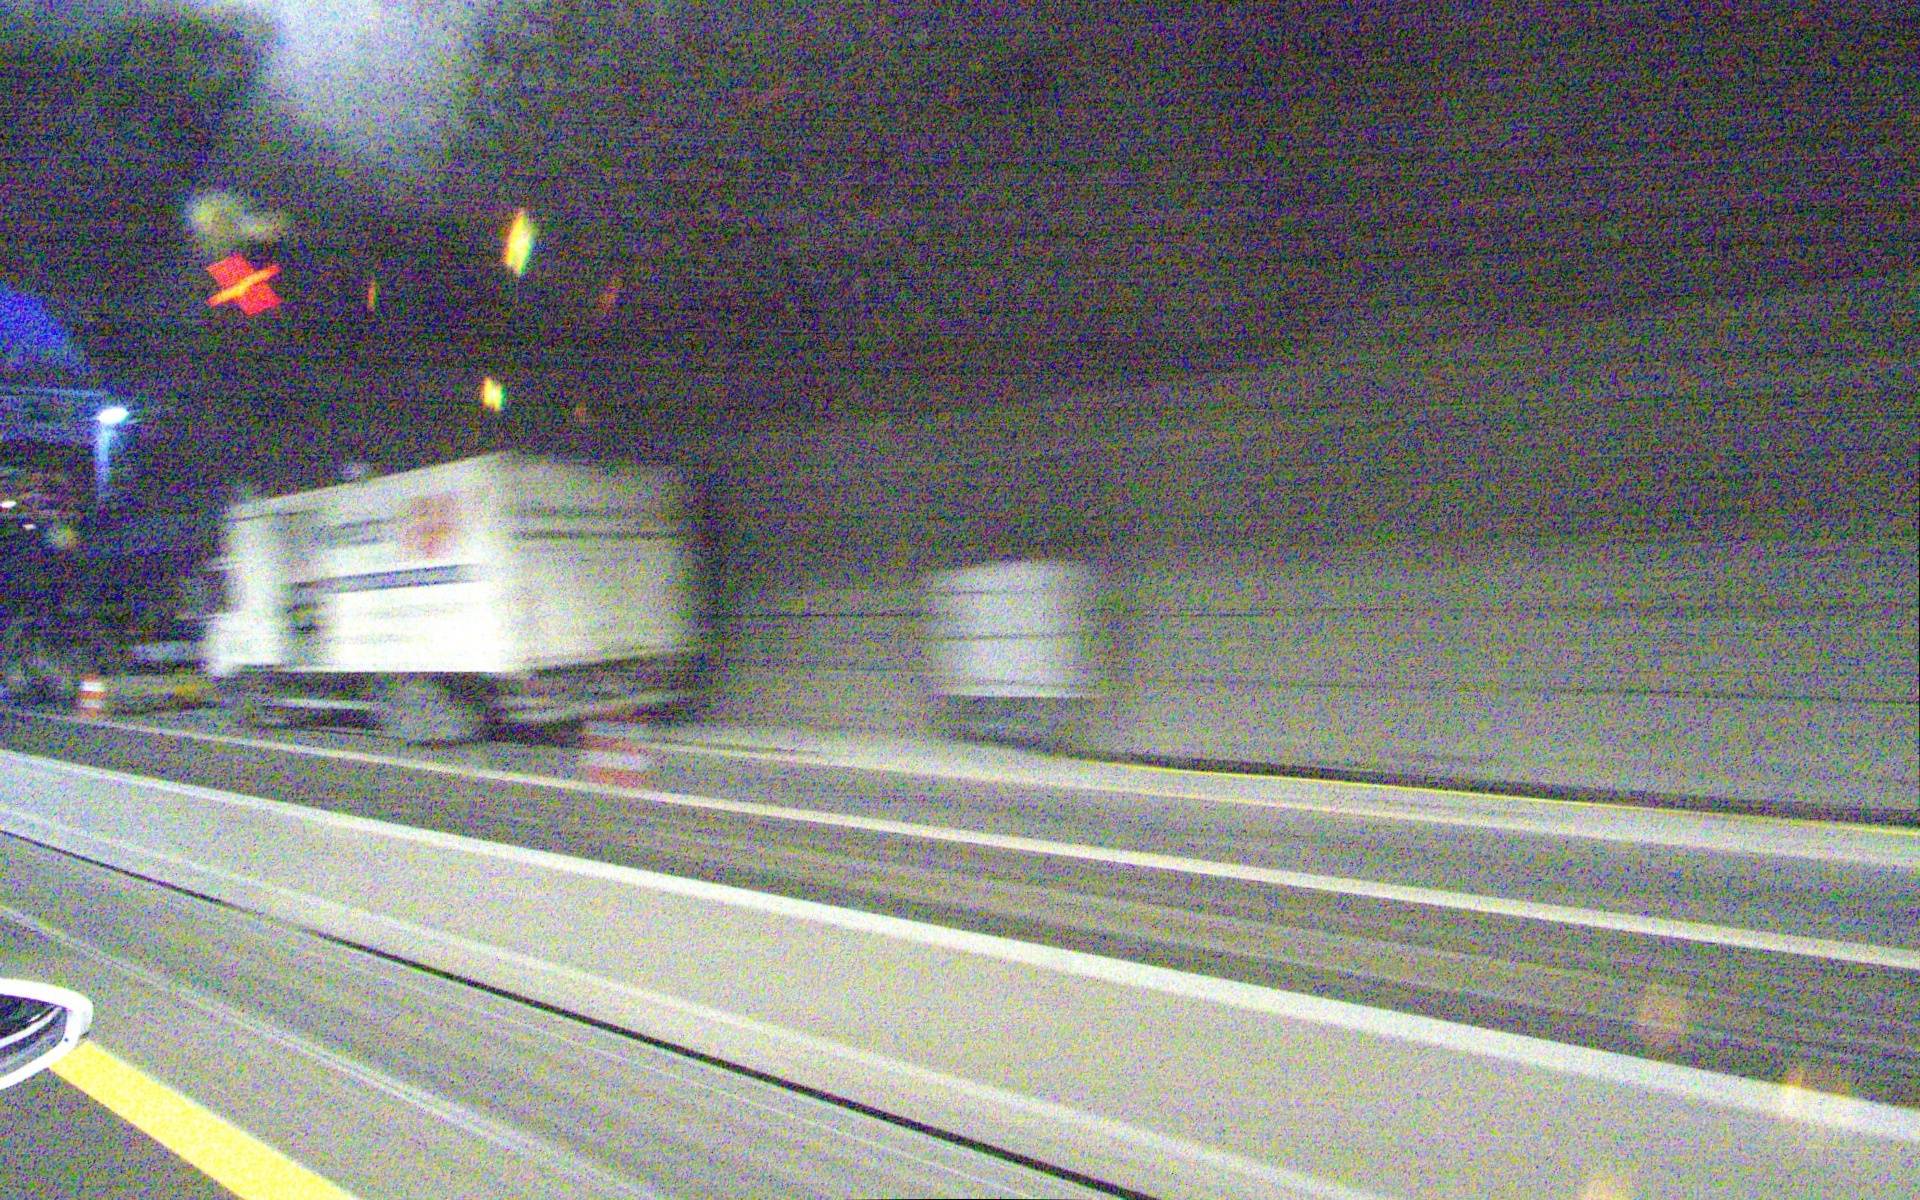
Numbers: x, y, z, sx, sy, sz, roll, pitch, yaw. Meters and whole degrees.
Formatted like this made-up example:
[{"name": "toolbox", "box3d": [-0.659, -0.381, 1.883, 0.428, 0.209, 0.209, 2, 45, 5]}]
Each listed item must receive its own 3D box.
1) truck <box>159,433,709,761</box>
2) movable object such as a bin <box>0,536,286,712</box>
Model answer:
[{"name": "truck", "box3d": [-7.405, 0.057, 13.569, 8.281, 3.314, 2.887, -1, -1, 32]}, {"name": "movable object such as a bin", "box3d": [-15.686, 0.464, 18.921, 7.130, 2.830, 2.234, -1, -1, 32]}]
